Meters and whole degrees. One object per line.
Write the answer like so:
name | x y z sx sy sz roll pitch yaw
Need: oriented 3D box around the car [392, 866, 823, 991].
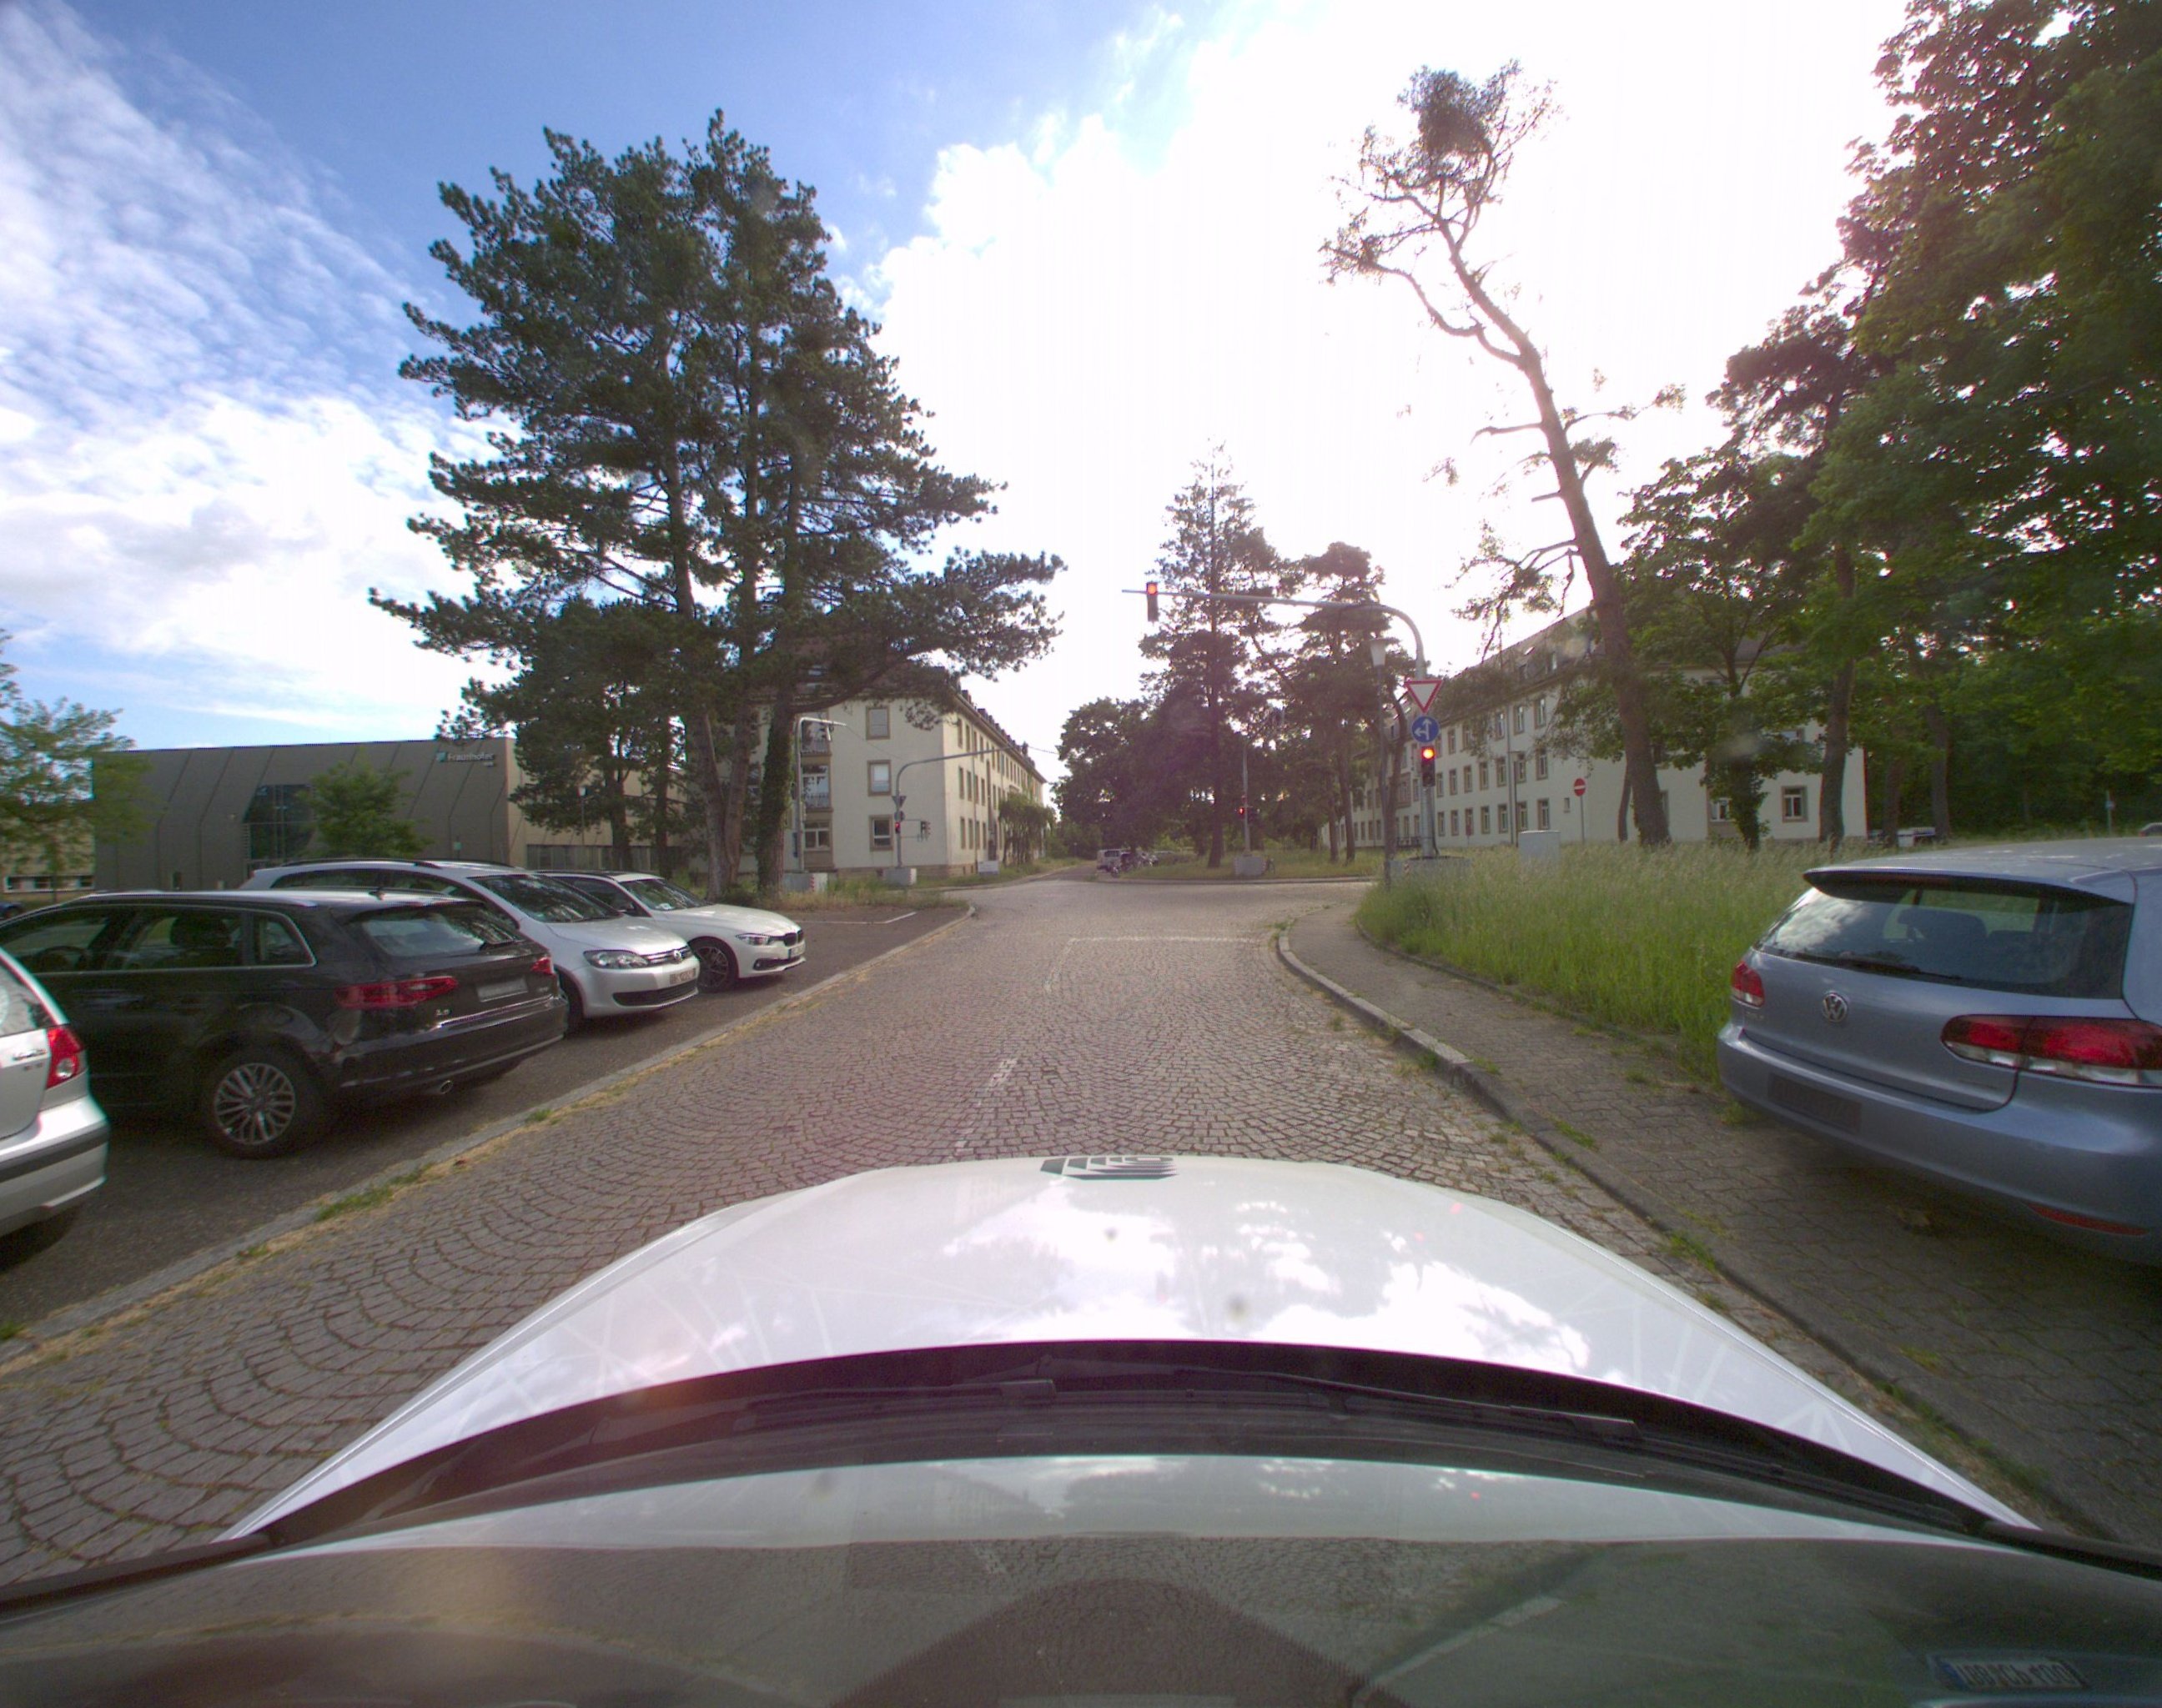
car | -5.884 0.898 10.564 4.465 1.442 1.829 0 0 -1

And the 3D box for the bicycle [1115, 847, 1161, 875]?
bicycle | 3.644 0.423 52.260 2.769 1.694 1.119 -2 0 -3

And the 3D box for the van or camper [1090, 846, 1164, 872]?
van or camper | 3.968 0.440 70.243 6.035 1.948 1.992 -2 0 -11

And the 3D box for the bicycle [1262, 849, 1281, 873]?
bicycle | 9.402 0.328 40.233 0.719 1.169 2.744 0 0 9

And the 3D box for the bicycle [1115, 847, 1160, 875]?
bicycle | 3.677 0.449 53.455 2.771 1.694 1.118 -2 0 -5

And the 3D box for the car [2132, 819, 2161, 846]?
car | 59.304 -1.126 43.605 3.971 1.398 1.564 0 0 2

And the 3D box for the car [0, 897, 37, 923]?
car | -55.852 2.908 40.745 1.598 1.272 4.204 -2 0 6

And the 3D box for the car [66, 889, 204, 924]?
car | -46.708 2.553 40.344 1.749 1.414 4.138 -2 0 6

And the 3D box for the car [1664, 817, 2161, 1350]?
car | 4.742 0.580 3.087 3.828 1.471 1.642 -3 0 1

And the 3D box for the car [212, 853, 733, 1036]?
car | -5.763 0.808 8.092 3.819 1.607 1.735 0 0 -1

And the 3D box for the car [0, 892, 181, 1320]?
car | -5.586 0.884 2.580 3.565 1.475 1.647 1 0 0

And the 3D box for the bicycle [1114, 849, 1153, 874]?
bicycle | 3.775 0.532 58.361 2.763 1.694 1.121 0 0 3

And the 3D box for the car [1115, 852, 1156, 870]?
car | 4.427 0.541 66.644 3.131 1.354 1.618 -2 0 -4

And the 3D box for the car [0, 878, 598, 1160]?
car | -5.536 0.906 5.239 3.821 1.408 1.696 1 0 1

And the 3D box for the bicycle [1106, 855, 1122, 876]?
bicycle | 1.951 0.673 48.037 0.722 1.107 2.465 -6 -1 4
